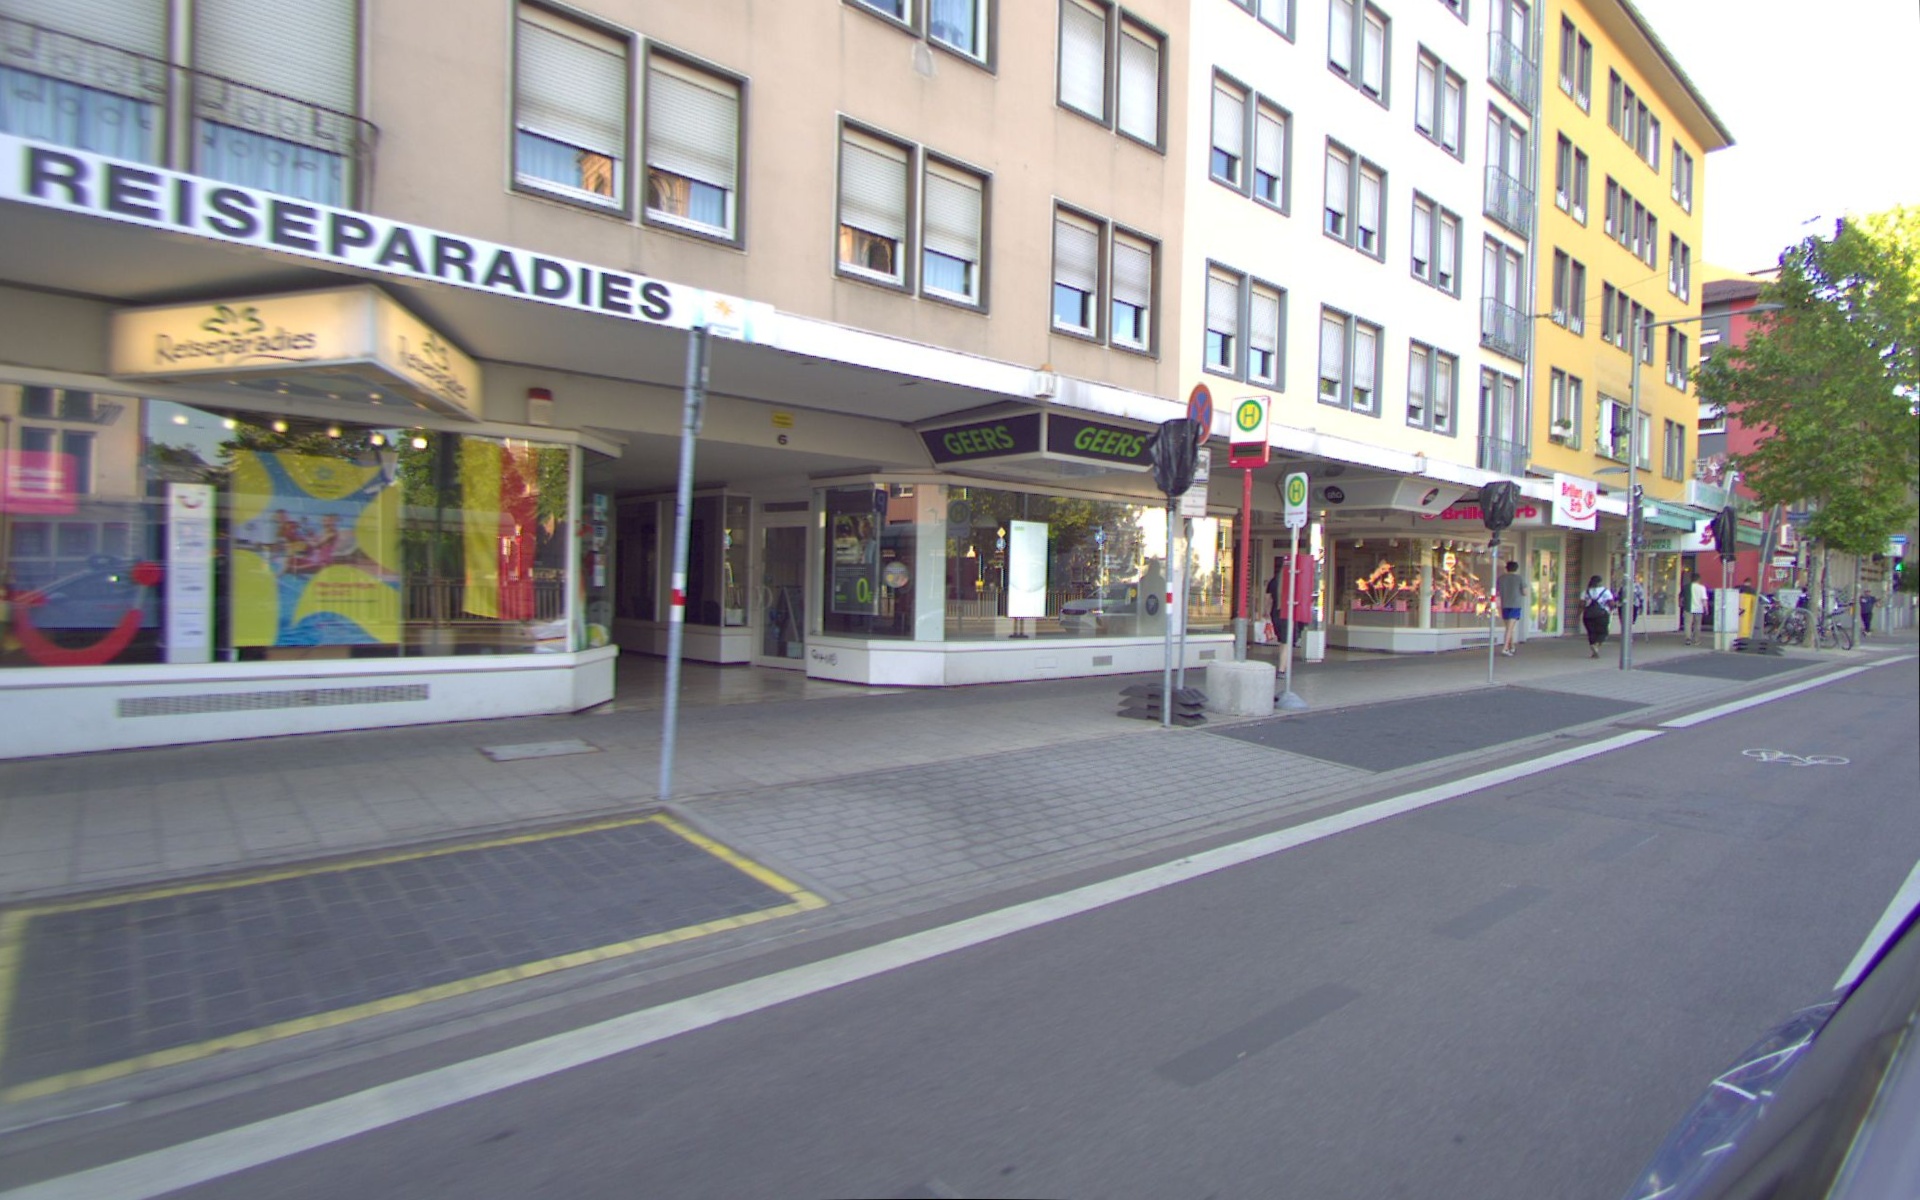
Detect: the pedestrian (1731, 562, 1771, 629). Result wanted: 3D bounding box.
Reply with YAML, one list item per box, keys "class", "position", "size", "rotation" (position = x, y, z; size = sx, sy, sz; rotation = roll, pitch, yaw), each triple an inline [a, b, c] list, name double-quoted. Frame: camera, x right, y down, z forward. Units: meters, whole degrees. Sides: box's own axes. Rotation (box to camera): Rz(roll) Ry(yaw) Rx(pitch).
- class: "pedestrian"
  position: [22.001, -0.128, 28.151]
  size: [0.753, 1.829, 0.725]
  rotation: [0, 2, -41]

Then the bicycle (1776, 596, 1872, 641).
- class: "bicycle"
  position: [22.381, 0.451, 26.254]
  size: [0.532, 1.020, 1.801]
  rotation: [0, 4, -43]

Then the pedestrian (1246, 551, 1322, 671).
- class: "pedestrian"
  position: [4.617, 0.137, 14.439]
  size: [0.753, 1.653, 0.725]
  rotation: [0, 2, -41]

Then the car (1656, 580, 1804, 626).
- class: "car"
  position: [30.264, 0.069, 39.878]
  size: [1.741, 1.707, 4.350]
  rotation: [0, 1, -40]

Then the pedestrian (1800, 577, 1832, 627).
- class: "pedestrian"
  position: [31.650, 0.065, 37.434]
  size: [0.879, 1.801, 0.745]
  rotation: [-1, 2, -40]

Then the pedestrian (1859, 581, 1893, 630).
- class: "pedestrian"
  position: [33.708, 0.204, 37.225]
  size: [0.801, 1.731, 0.728]
  rotation: [0, 4, -40]

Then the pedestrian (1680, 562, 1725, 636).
- class: "pedestrian"
  position: [18.278, -0.041, 24.918]
  size: [0.753, 1.801, 0.725]
  rotation: [0, 2, -41]

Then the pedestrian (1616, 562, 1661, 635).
- class: "pedestrian"
  position: [16.623, -0.053, 24.799]
  size: [0.753, 1.745, 0.725]
  rotation: [0, 2, -41]

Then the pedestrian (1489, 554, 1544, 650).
- class: "pedestrian"
  position: [11.170, 0.023, 20.319]
  size: [0.753, 1.863, 0.725]
  rotation: [0, 2, -41]

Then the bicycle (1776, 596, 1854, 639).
- class: "bicycle"
  position: [21.886, 0.434, 25.932]
  size: [0.446, 1.021, 1.484]
  rotation: [0, 1, -43]

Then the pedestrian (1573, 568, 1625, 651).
- class: "pedestrian"
  position: [12.679, 0.171, 20.089]
  size: [0.836, 1.598, 0.612]
  rotation: [0, 2, -39]
